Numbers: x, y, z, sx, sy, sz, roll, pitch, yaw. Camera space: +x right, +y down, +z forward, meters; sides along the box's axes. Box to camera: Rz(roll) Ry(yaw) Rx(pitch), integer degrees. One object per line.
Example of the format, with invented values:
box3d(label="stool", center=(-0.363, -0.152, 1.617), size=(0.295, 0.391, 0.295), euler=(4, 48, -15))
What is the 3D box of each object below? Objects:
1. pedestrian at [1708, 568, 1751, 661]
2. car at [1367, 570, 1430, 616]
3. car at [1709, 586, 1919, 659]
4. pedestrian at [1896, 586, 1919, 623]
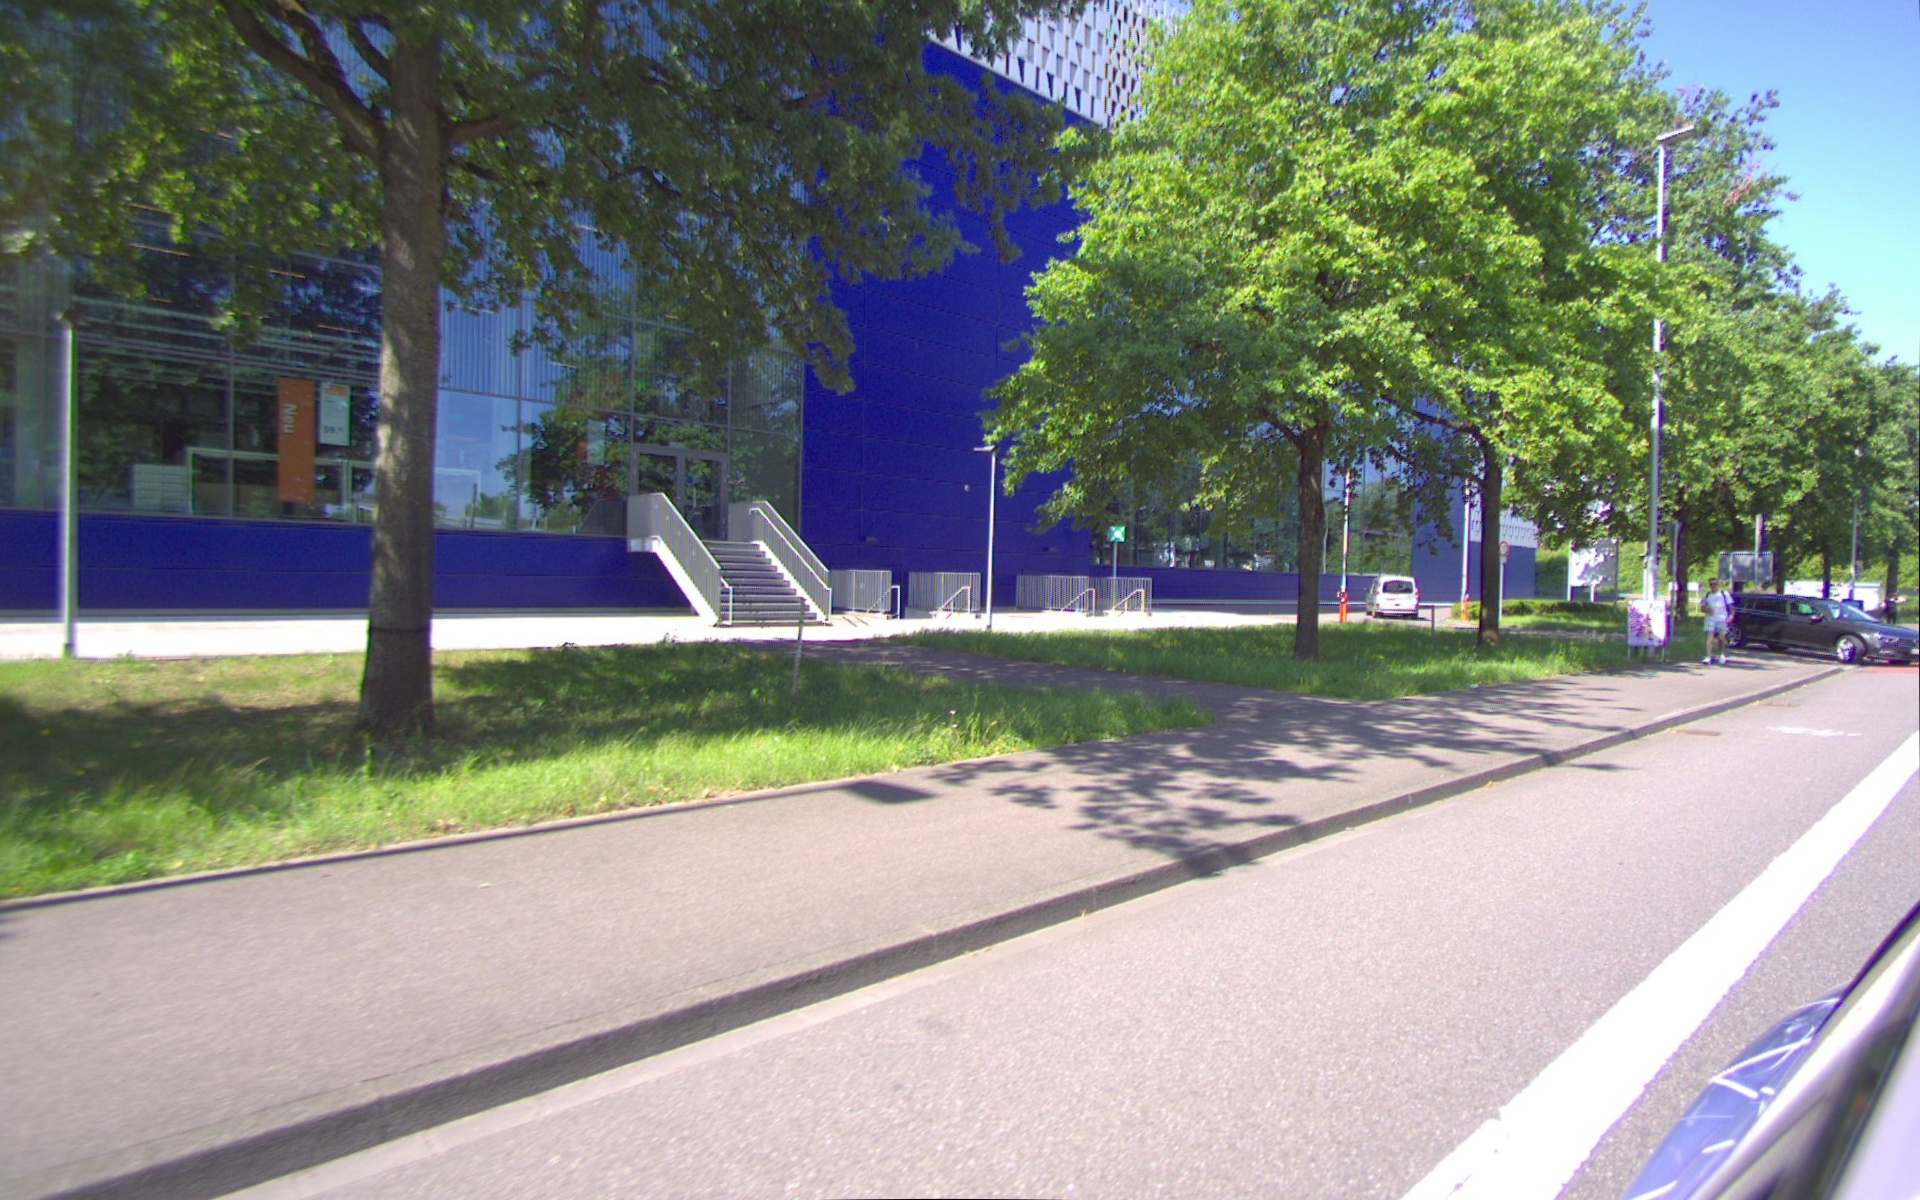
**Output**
box3d(label="pedestrian", center=(15.717, 0.280, 20.671), size=(0.715, 1.864, 0.536), euler=(0, 1, -41))
box3d(label="car", center=(18.561, -0.329, 43.005), size=(1.885, 1.851, 4.159), euler=(2, 1, 16))
box3d(label="car", center=(21.239, 0.481, 24.805), size=(1.871, 1.539, 4.384), euler=(1, 1, -15))
box3d(label="pedestrian", center=(42.011, 0.186, 44.873), size=(0.832, 1.623, 0.648), euler=(0, 1, -41))
